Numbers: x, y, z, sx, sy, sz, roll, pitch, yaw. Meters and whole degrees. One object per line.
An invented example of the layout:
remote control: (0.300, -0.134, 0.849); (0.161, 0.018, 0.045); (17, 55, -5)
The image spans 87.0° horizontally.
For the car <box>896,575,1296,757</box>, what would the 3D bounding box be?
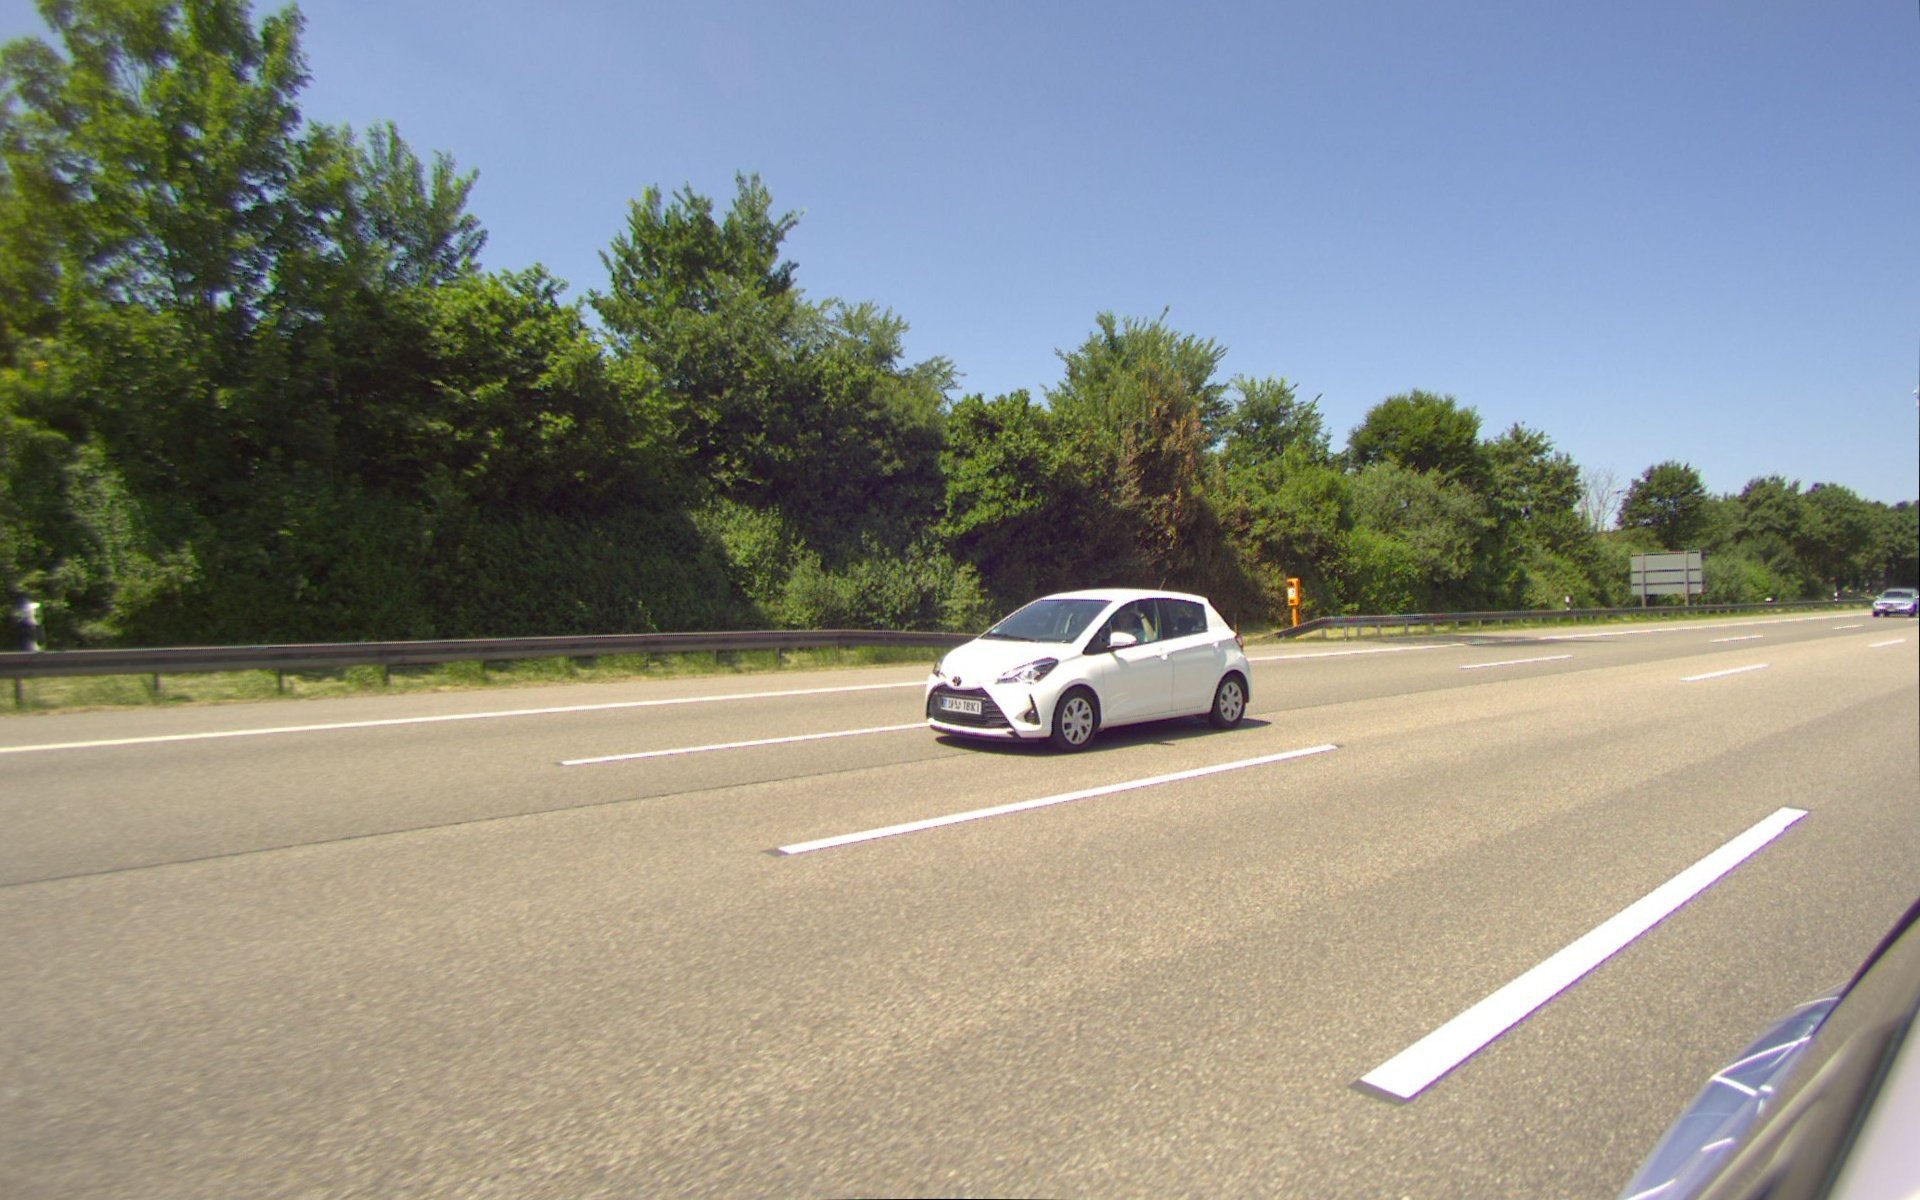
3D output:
car: (1.599, 0.529, 10.789); (4.406, 1.538, 1.753); (-1, 1, -41)

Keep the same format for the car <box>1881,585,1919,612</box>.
car: (55.639, -0.105, 59.207); (3.927, 1.549, 1.998); (-1, 1, -38)
